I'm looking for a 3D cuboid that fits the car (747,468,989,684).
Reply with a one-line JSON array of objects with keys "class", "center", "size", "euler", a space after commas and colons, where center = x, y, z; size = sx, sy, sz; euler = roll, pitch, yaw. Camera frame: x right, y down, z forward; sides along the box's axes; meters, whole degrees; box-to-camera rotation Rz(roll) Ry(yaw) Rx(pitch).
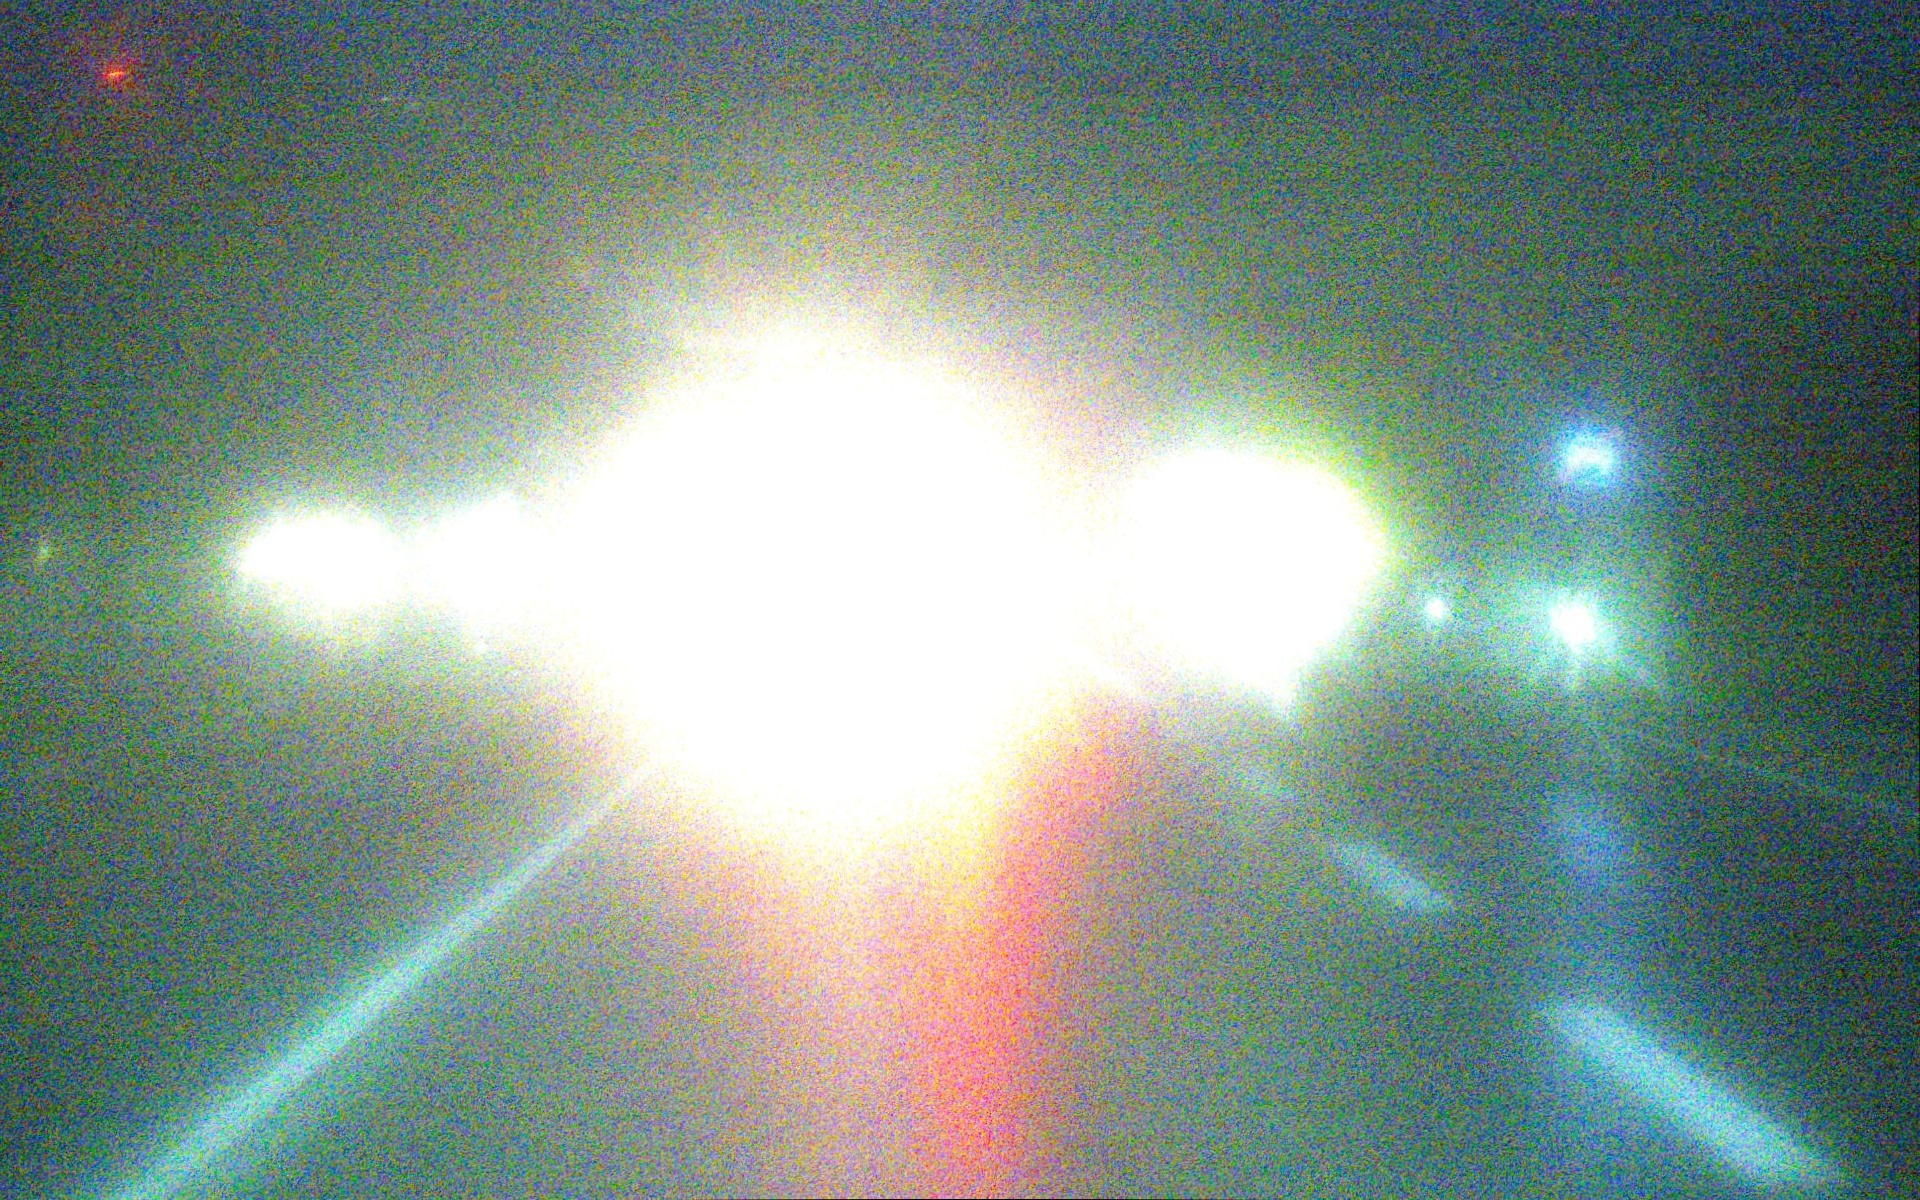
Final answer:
[{"class": "car", "center": [-0.785, -0.204, 27.923], "size": [1.808, 1.616, 4.000], "euler": [0, 1, -3]}]
